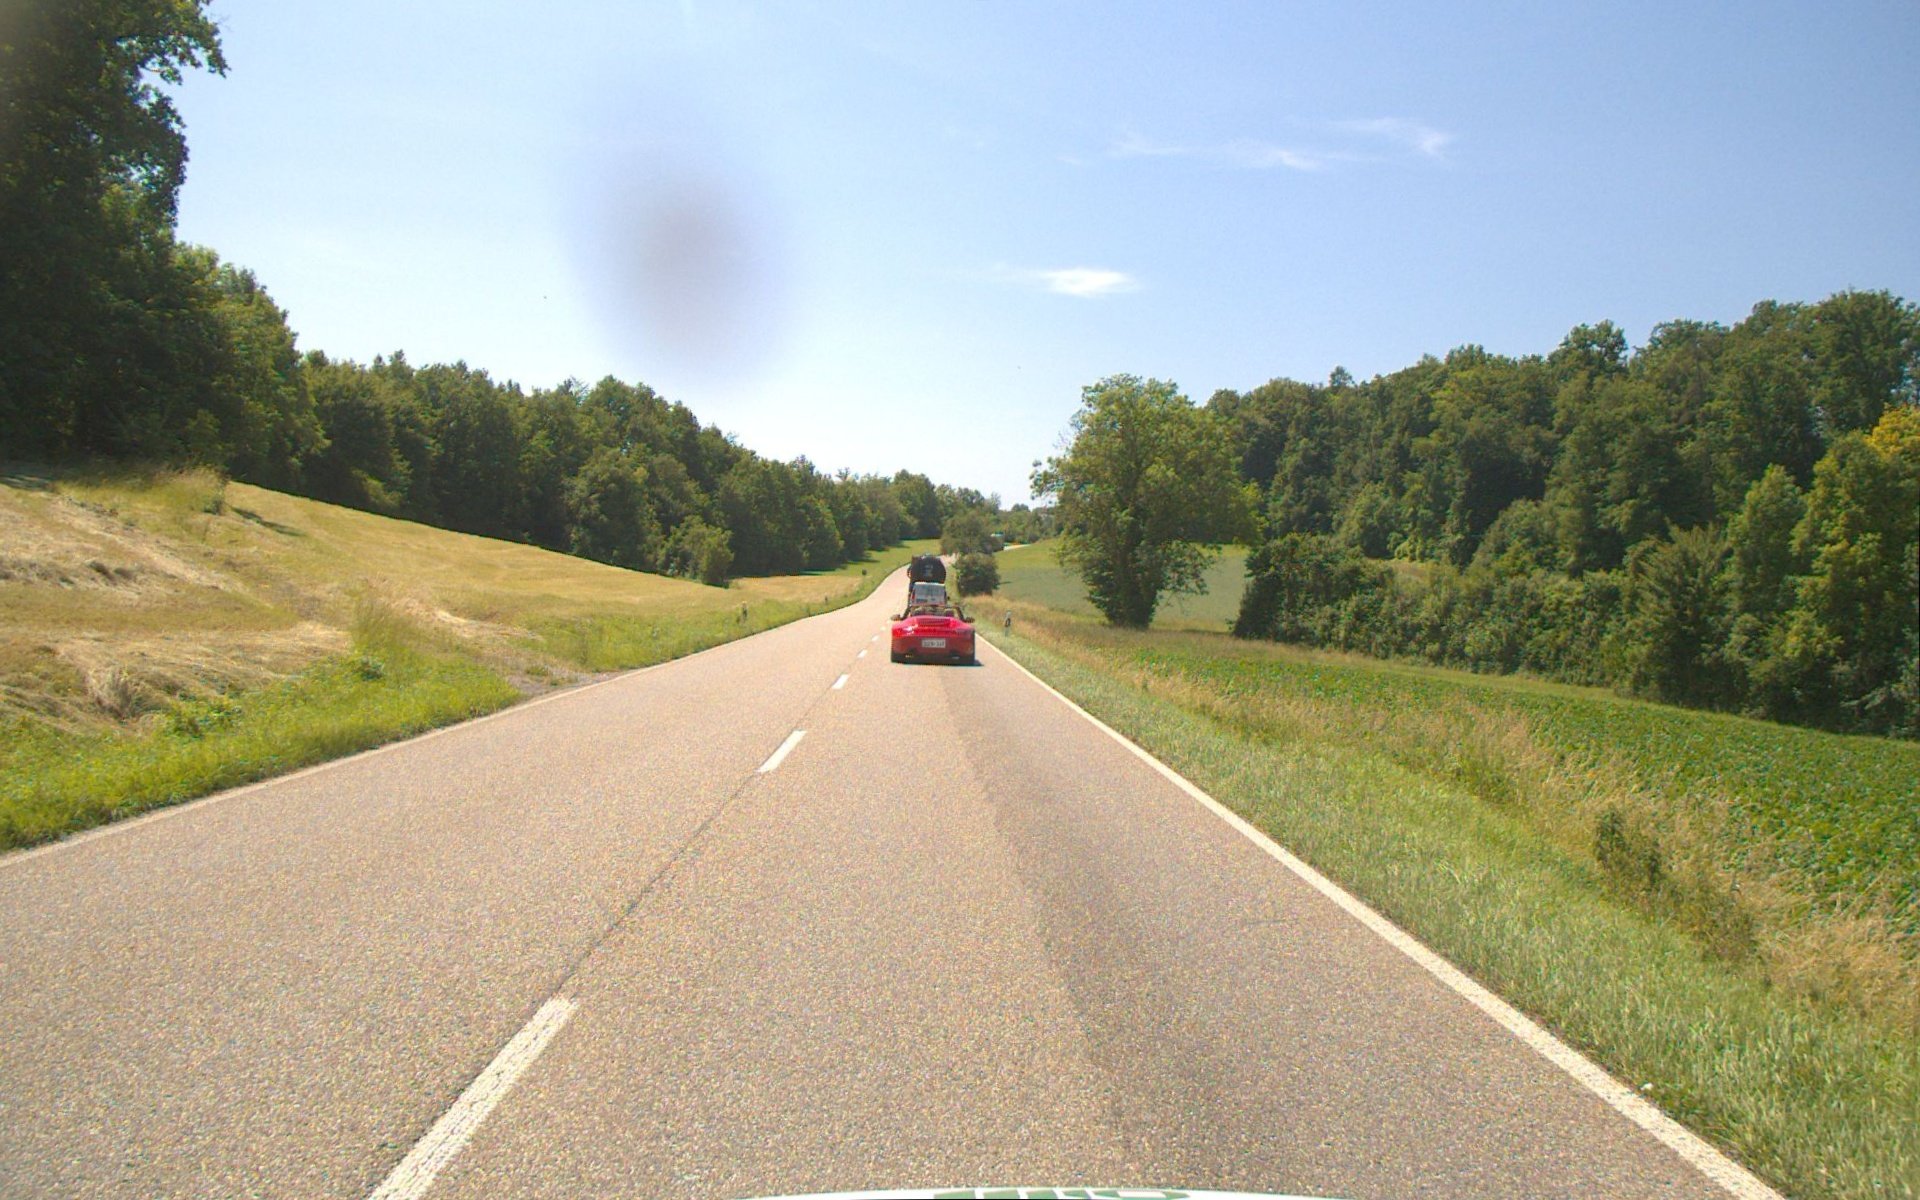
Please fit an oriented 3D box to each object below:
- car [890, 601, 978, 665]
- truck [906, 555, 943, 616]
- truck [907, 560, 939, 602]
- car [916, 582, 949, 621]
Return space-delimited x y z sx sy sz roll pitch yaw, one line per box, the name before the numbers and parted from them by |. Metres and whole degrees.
car | -0.605 0.691 36.913 1.844 1.277 4.008 1 0 -2
truck | -2.667 -1.155 120.095 2.356 4.120 12.545 1 1 -2
truck | -4.689 -2.408 205.714 3.651 4.740 12.027 1 2 -3
car | -1.379 0.038 83.907 1.644 1.934 4.009 1 1 -1
